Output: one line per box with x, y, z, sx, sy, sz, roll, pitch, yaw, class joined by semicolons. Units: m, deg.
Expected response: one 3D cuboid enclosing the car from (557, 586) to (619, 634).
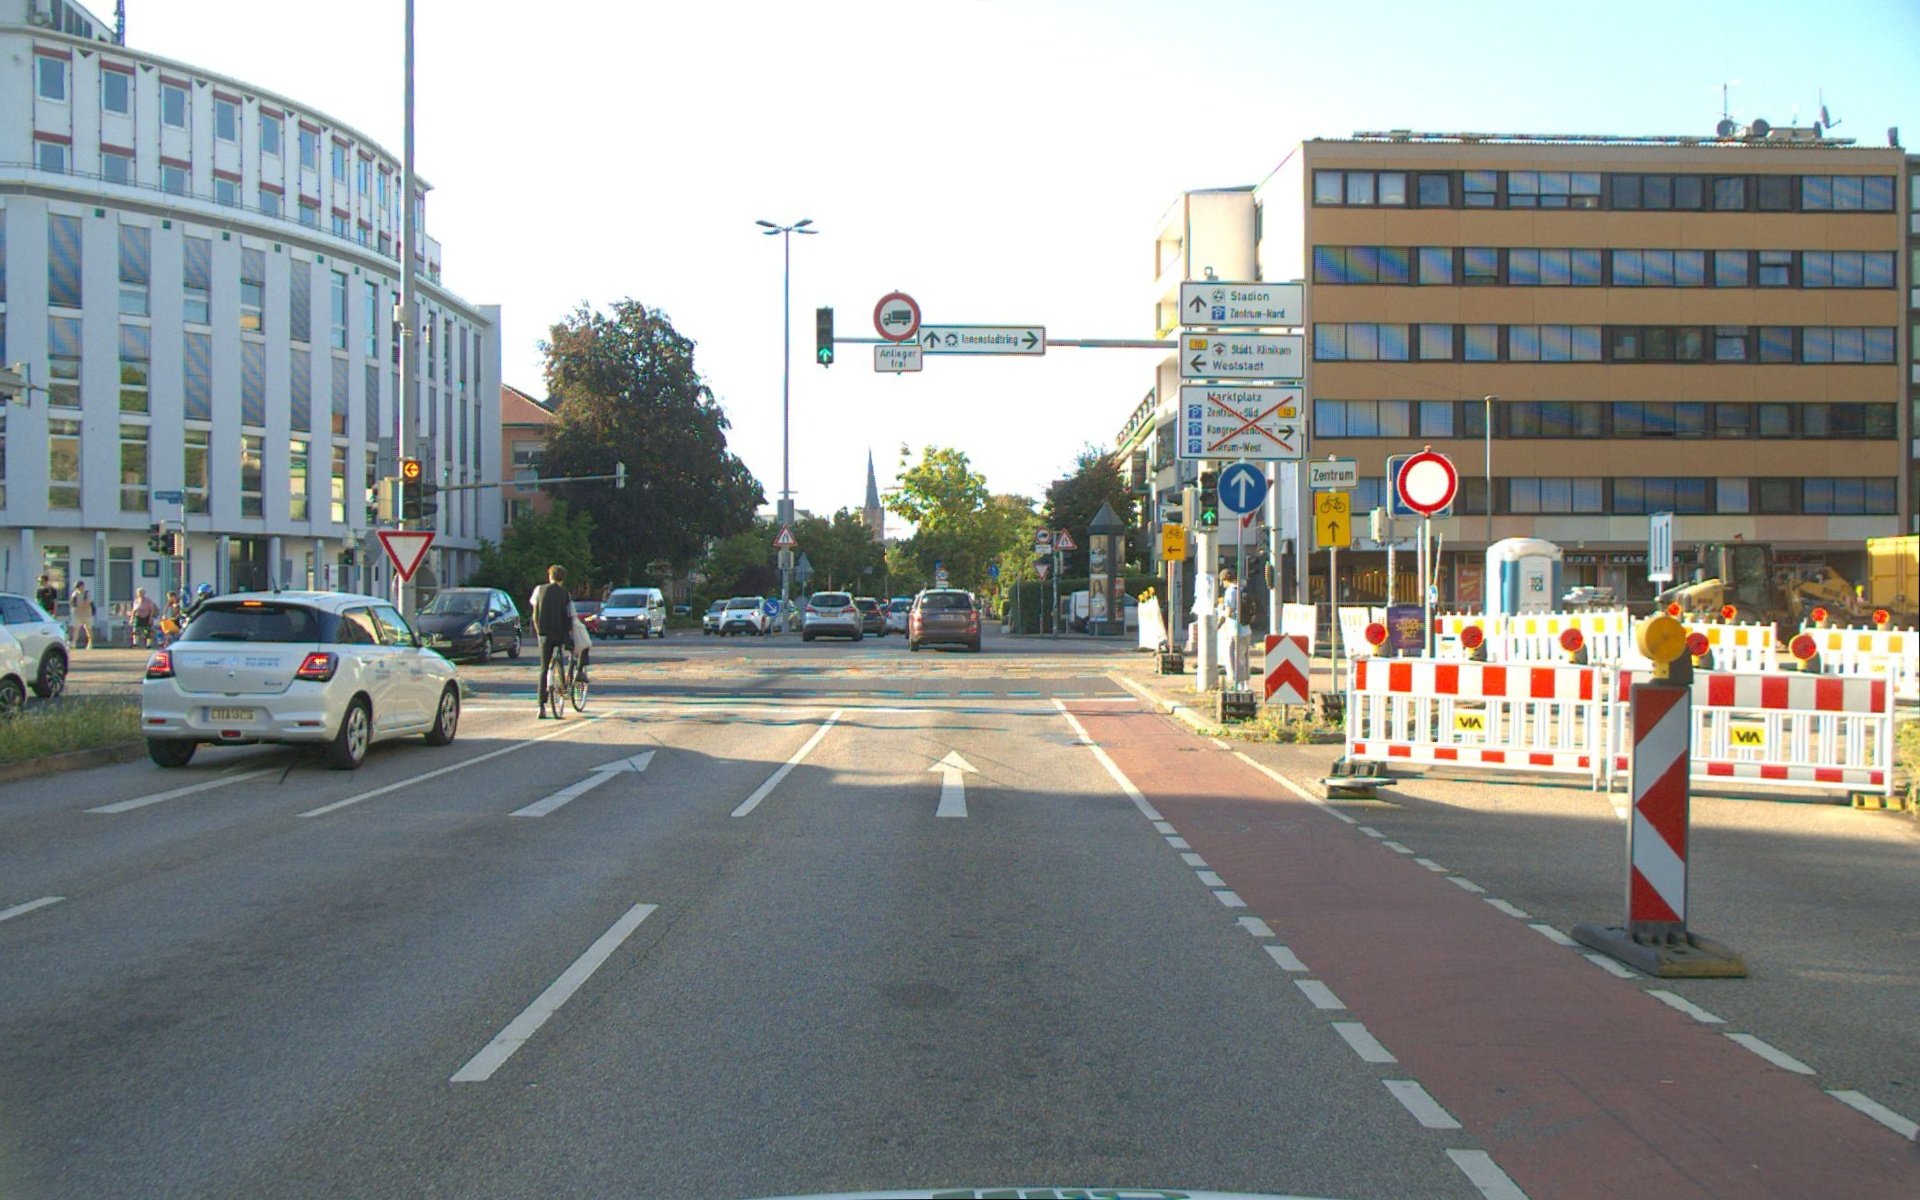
-14.715;0.389;65.561;1.713;1.843;4.047;0;0;-3;car

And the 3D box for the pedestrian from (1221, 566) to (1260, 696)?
4.153;0.461;24.497;0.509;1.901;0.615;0;0;5;pedestrian

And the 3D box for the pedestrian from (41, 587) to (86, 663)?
-22.713;0.630;41.902;0.647;1.891;0.777;0;0;28;pedestrian

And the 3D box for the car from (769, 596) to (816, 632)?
-7.174;0.575;71.182;1.811;1.487;4.047;0;0;-3;car

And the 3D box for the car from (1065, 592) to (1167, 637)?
6.906;0.635;73.484;4.276;1.910;1.999;0;0;-2;car

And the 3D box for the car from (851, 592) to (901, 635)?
-3.209;0.494;63.621;1.712;1.591;4.049;0;0;0;car

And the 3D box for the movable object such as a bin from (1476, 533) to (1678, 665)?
11.671;-0.021;31.399;3.261;2.425;1.528;0;0;-2;movable object such as a bin

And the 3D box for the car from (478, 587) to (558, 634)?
-14.755;0.342;55.370;1.624;1.521;4.345;0;0;-2;car

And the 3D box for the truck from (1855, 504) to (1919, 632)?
25.606;-0.753;39.398;7.187;2.949;2.806;0;0;-4;truck

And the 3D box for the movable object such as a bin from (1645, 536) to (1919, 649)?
19.142;-0.173;38.643;5.243;2.534;2.547;0;0;-3;movable object such as a bin

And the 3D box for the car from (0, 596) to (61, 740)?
-10.235;0.675;15.264;1.650;1.417;4.180;0;0;-1;car

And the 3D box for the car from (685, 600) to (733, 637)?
-12.002;0.861;79.298;1.843;1.683;4.047;0;0;-3;car

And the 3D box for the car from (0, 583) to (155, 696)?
-13.775;0.528;24.482;1.651;1.525;4.512;0;0;-2;car

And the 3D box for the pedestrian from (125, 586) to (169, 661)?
-20.795;0.596;42.317;0.646;1.901;0.779;0;0;18;pedestrian

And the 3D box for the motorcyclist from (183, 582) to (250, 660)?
-14.165;0.392;31.545;0.754;1.444;1.238;0;0;-3;motorcyclist

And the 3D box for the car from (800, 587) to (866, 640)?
-3.908;0.399;51.327;1.712;1.591;4.049;0;0;0;car

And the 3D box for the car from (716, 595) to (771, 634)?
-8.487;0.538;65.075;1.811;1.487;4.047;0;0;-3;car

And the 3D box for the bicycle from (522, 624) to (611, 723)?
-4.841;0.876;20.484;0.686;1.119;2.256;0;0;-3;bicycle

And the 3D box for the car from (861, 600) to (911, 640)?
-3.088;0.871;69.748;1.953;1.534;3.998;-2;-2;-2;car

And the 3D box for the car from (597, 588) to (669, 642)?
-11.668;0.523;59.266;1.877;1.843;4.714;0;0;-3;car

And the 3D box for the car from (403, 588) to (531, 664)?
-10.370;0.513;35.055;1.624;1.521;3.998;0;0;-2;car

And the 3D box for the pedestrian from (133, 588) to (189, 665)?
-20.105;0.657;41.647;0.614;1.901;1.126;0;0;27;pedestrian

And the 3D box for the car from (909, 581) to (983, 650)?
-0.324;0.358;40.168;1.712;1.591;4.049;0;0;0;car

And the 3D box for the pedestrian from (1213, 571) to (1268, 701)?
4.032;0.502;23.720;0.725;1.831;0.716;0;0;14;pedestrian

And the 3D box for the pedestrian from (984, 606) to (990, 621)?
3.148;1.592;192.179;0.750;1.713;0.999;0;0;-1;pedestrian

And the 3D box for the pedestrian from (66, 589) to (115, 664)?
-21.941;0.654;41.735;0.743;1.874;0.818;0;0;22;pedestrian

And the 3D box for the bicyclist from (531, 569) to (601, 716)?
-4.841;0.507;20.359;0.677;1.758;0.987;0;0;-4;bicyclist

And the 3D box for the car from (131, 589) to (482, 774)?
-5.880;0.655;15.414;1.650;1.482;4.000;0;0;0;car

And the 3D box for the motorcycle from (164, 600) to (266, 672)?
-14.175;0.662;31.564;0.754;1.307;2.841;0;0;-2;motorcycle
